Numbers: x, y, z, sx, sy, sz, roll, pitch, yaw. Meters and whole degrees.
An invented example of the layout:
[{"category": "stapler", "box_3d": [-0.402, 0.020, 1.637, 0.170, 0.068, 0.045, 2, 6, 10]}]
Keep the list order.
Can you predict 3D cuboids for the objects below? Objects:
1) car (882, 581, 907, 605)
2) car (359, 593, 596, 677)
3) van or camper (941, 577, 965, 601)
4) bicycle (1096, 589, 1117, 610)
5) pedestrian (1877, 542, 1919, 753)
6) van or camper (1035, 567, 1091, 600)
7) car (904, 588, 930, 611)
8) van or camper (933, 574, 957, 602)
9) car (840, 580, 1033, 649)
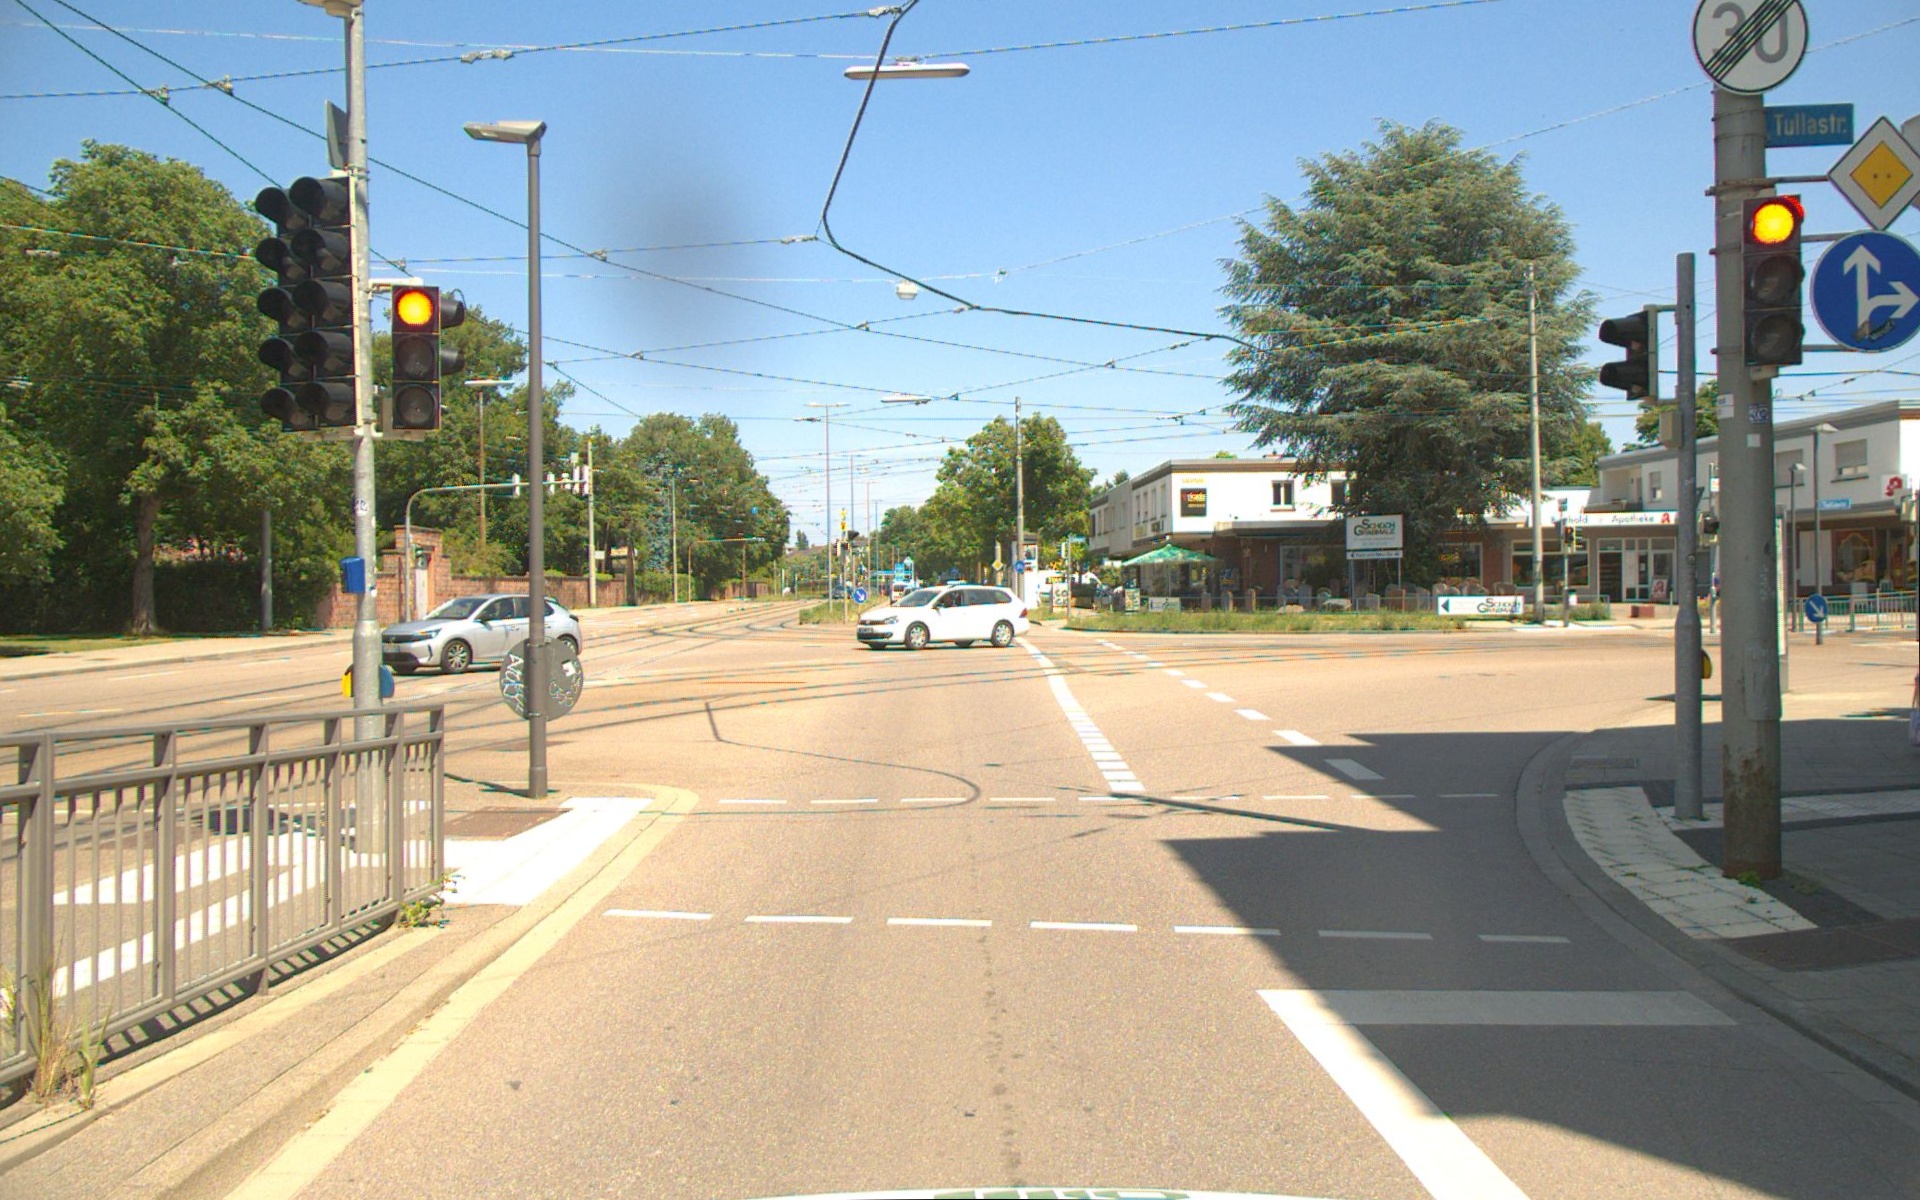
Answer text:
[{"category": "car", "box_3d": [-5.234, -0.542, 131.609, 1.954, 1.892, 3.997, -1, 0, -3]}, {"category": "car", "box_3d": [-9.054, 0.632, 31.288, 1.788, 1.386, 4.035, -2, 0, 37]}, {"category": "van or camper", "box_3d": [-0.575, -0.859, 130.349, 1.883, 1.803, 3.999, -1, 0, -1]}, {"category": "bicycle", "box_3d": [7.497, -0.055, 84.581, 1.012, 1.032, 2.639, -1, 0, 5]}, {"category": "pedestrian", "box_3d": [7.718, 0.337, 12.701, 0.809, 1.611, 0.827, -4, 0, 5]}, {"category": "van or camper", "box_3d": [8.929, -1.424, 143.520, 4.662, 2.717, 2.134, -1, 0, -3]}, {"category": "car", "box_3d": [-2.758, -0.044, 107.149, 1.636, 1.460, 3.474, 1, 0, -1]}, {"category": "van or camper", "box_3d": [-1.393, -1.086, 152.806, 1.954, 2.507, 3.997, -1, 0, -4]}, {"category": "car", "box_3d": [-0.519, 0.299, 39.175, 4.455, 1.516, 1.798, -1, 0, -39]}]
